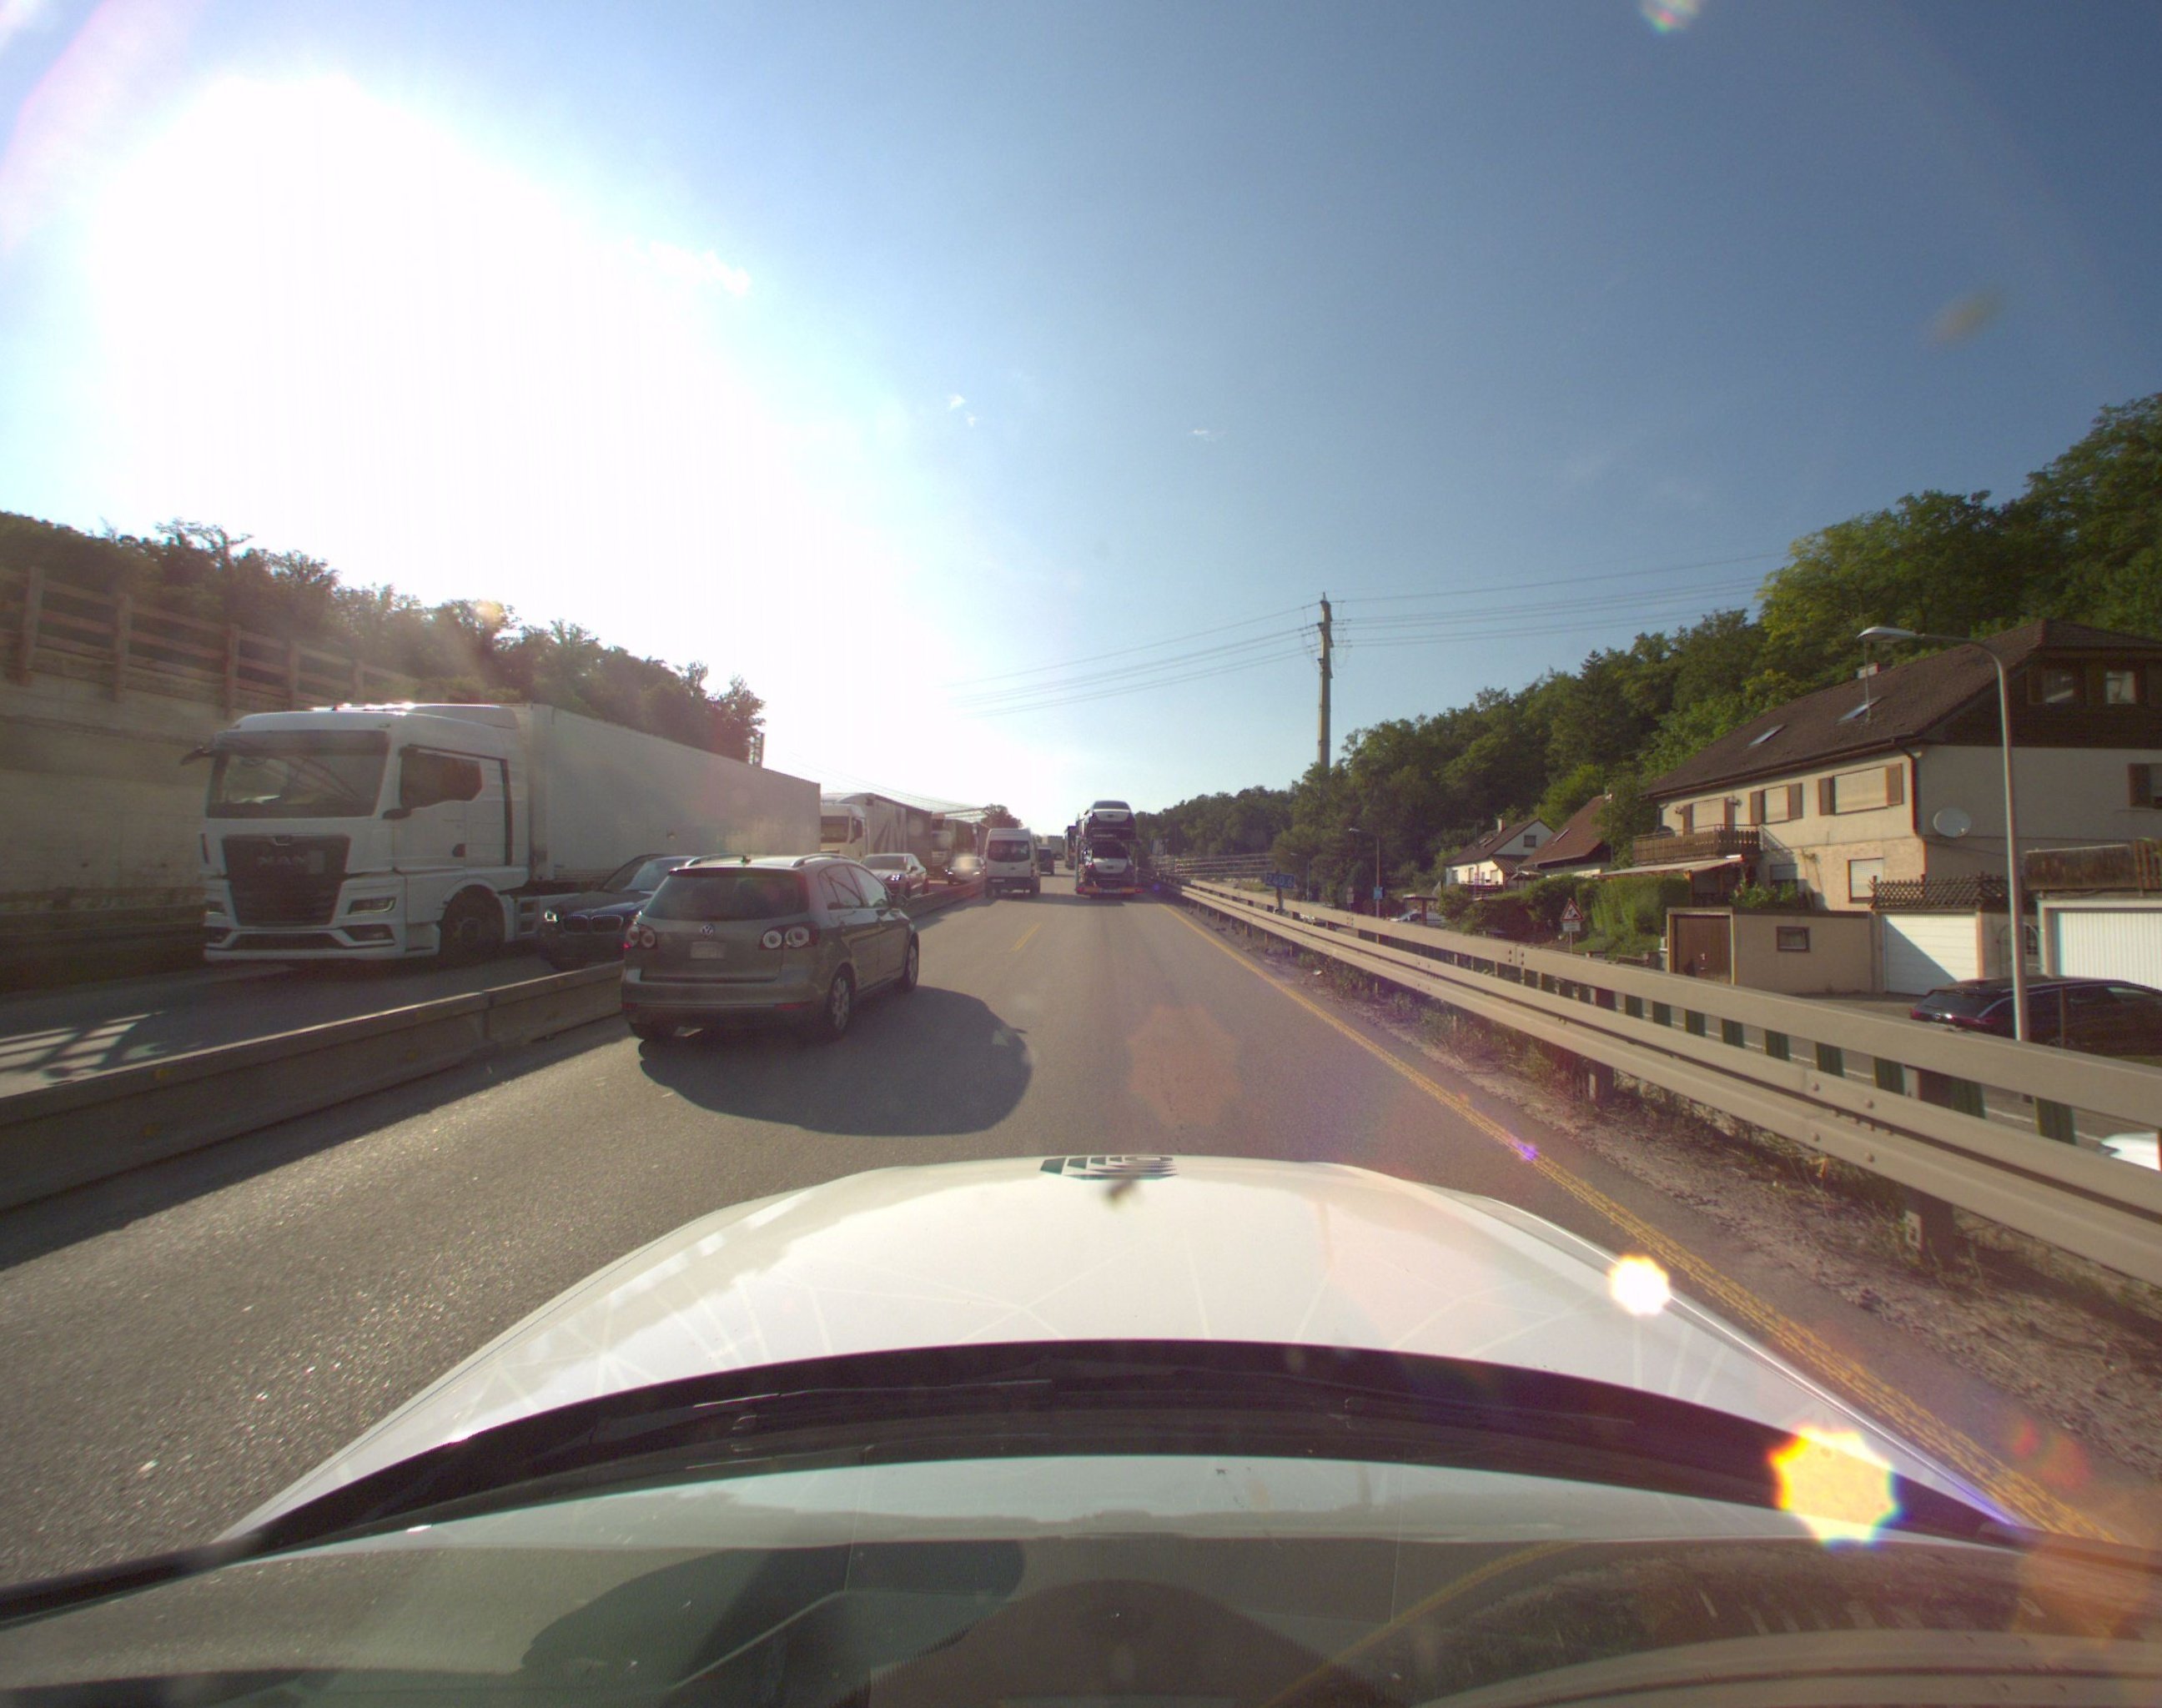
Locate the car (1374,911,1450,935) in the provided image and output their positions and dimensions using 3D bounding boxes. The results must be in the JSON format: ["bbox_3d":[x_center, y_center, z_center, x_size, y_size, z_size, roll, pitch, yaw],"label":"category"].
[{"bbox_3d":[24.795,5.165,61.149,5.066,1.557,1.717,1,-2,4],"label":"car"}]

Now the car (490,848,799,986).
[{"bbox_3d":[-6.182,0.815,12.364,1.873,1.607,4.734,2,-1,3],"label":"car"}]

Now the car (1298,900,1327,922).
[{"bbox_3d":[22.223,5.410,78.313,1.853,1.986,5.059,0,-2,6],"label":"car"}]

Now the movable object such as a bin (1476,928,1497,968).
[{"bbox_3d":[18.749,4.340,37.648,0.526,1.770,0.417,10,-1,10],"label":"movable object such as a bin"}]

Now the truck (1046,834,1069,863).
[{"bbox_3d":[-3.983,-0.985,140.081,3.638,4.676,11.689,1,1,-1],"label":"truck"}]

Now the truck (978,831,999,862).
[{"bbox_3d":[-12.537,-0.917,110.848,2.697,4.141,5.783,0,-1,-5],"label":"truck"}]

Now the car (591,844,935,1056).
[{"bbox_3d":[-2.762,0.741,8.185,1.694,1.587,4.148,0,-1,2],"label":"car"}]

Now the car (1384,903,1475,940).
[{"bbox_3d":[24.178,4.659,56.684,5.441,2.264,2.002,2,-2,4],"label":"car"}]

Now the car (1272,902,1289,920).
[{"bbox_3d":[19.647,5.625,80.357,1.515,1.461,4.281,0,-1,12],"label":"car"}]

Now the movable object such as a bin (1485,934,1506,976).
[{"bbox_3d":[18.506,4.497,36.375,0.486,1.770,0.415,10,-1,10],"label":"movable object such as a bin"}]

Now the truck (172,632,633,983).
[{"bbox_3d":[-9.838,-0.544,12.747,2.446,4.316,5.475,0,-1,2],"label":"truck"}]

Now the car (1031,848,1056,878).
[{"bbox_3d":[-2.731,0.674,60.144,1.523,2.014,3.999,2,-1,0],"label":"car"}]

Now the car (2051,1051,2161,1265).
[{"bbox_3d":[9.956,2.646,5.532,1.659,1.662,4.478,0,-2,6],"label":"car"}]

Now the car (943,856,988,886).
[{"bbox_3d":[-6.122,0.937,43.689,1.769,1.457,4.812,2,-1,-1],"label":"car"}]

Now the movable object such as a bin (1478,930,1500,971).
[{"bbox_3d":[18.652,4.406,37.222,0.532,1.770,0.409,10,-1,10],"label":"movable object such as a bin"}]

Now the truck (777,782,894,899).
[{"bbox_3d":[-9.458,-0.452,32.129,2.756,4.203,6.113,0,-1,0],"label":"truck"}]

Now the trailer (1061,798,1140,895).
[{"bbox_3d":[0.625,-0.215,41.229,2.868,3.994,15.262,0,-1,-3],"label":"trailer"}]

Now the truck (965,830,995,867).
[{"bbox_3d":[-10.967,-0.545,89.062,2.743,3.805,7.102,-1,0,-4],"label":"truck"}]

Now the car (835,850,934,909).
[{"bbox_3d":[-6.217,0.777,26.413,2.002,1.655,4.972,3,-1,-1],"label":"car"}]

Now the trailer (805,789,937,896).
[{"bbox_3d":[-9.472,-0.377,38.938,2.767,4.203,13.829,0,-1,0],"label":"trailer"}]

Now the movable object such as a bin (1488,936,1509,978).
[{"bbox_3d":[18.428,4.533,35.930,0.486,1.770,0.415,10,-1,10],"label":"movable object such as a bin"}]

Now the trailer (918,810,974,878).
[{"bbox_3d":[-9.430,-0.621,57.675,2.903,4.465,7.148,1,-1,-1],"label":"trailer"}]

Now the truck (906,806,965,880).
[{"bbox_3d":[-9.327,-0.645,52.650,2.911,4.514,5.024,1,-1,-2],"label":"truck"}]

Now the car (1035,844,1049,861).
[{"bbox_3d":[-4.846,-0.152,101.483,1.524,2.014,3.996,3,-1,-3],"label":"car"}]

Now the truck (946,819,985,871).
[{"bbox_3d":[-9.487,-0.713,67.357,2.743,4.115,5.024,-1,0,-4],"label":"truck"}]

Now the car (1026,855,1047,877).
[{"bbox_3d":[-4.088,1.133,75.044,1.828,1.963,4.894,0,-1,-3],"label":"car"}]

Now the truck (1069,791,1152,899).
[{"bbox_3d":[1.044,-0.294,32.893,2.863,3.980,5.765,0,-1,-3],"label":"truck"}]

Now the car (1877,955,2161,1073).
[{"bbox_3d":[18.024,2.885,14.983,4.471,1.525,2.003,-5,-3,6],"label":"car"}]

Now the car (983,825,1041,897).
[{"bbox_3d":[-2.662,0.271,32.370,1.973,2.684,4.145,0,-1,-1],"label":"car"}]

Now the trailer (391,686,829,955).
[{"bbox_3d":[-9.666,-0.464,19.936,2.447,4.320,13.777,0,-1,1],"label":"trailer"}]

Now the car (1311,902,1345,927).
[{"bbox_3d":[20.693,5.077,68.458,1.984,1.917,4.873,0,-2,8],"label":"car"}]

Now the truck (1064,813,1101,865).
[{"bbox_3d":[0.055,-1.408,78.758,3.219,4.676,11.690,1,1,-1],"label":"truck"}]
